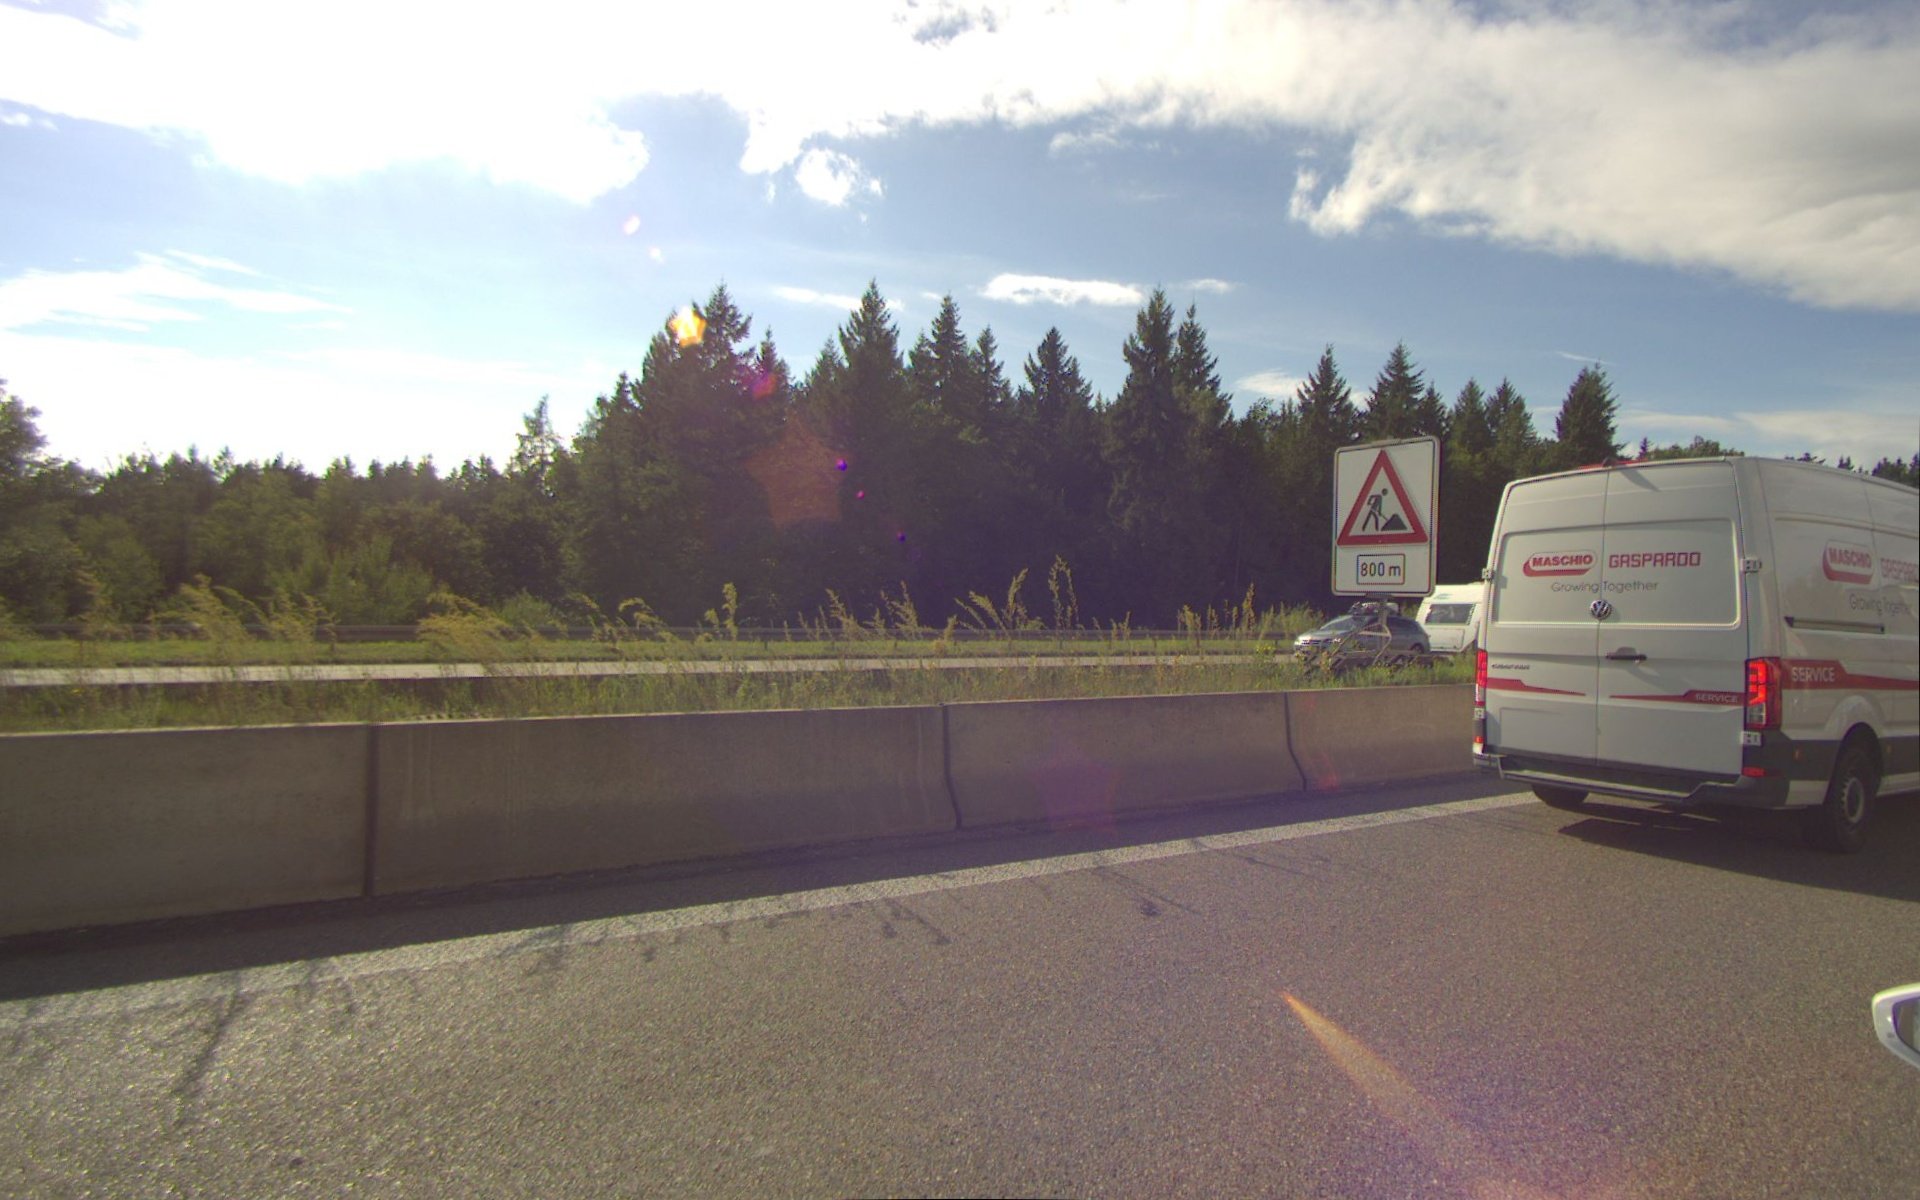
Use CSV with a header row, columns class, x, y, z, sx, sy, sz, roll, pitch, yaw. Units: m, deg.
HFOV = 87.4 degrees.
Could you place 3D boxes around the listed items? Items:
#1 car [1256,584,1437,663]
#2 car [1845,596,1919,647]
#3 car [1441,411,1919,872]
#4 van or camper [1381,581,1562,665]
class,x,y,z,sx,sy,sz,roll,pitch,yaw
car,11.067,0.679,28.673,5.025,2.085,2.228,2,0,-31
car,46.364,1.080,49.348,6.786,2.222,2.303,2,3,-32
car,6.721,0.309,8.155,6.109,2.633,2.005,2,-1,-30
van or camper,16.274,0.730,31.859,5.786,2.446,2.446,2,0,-31
